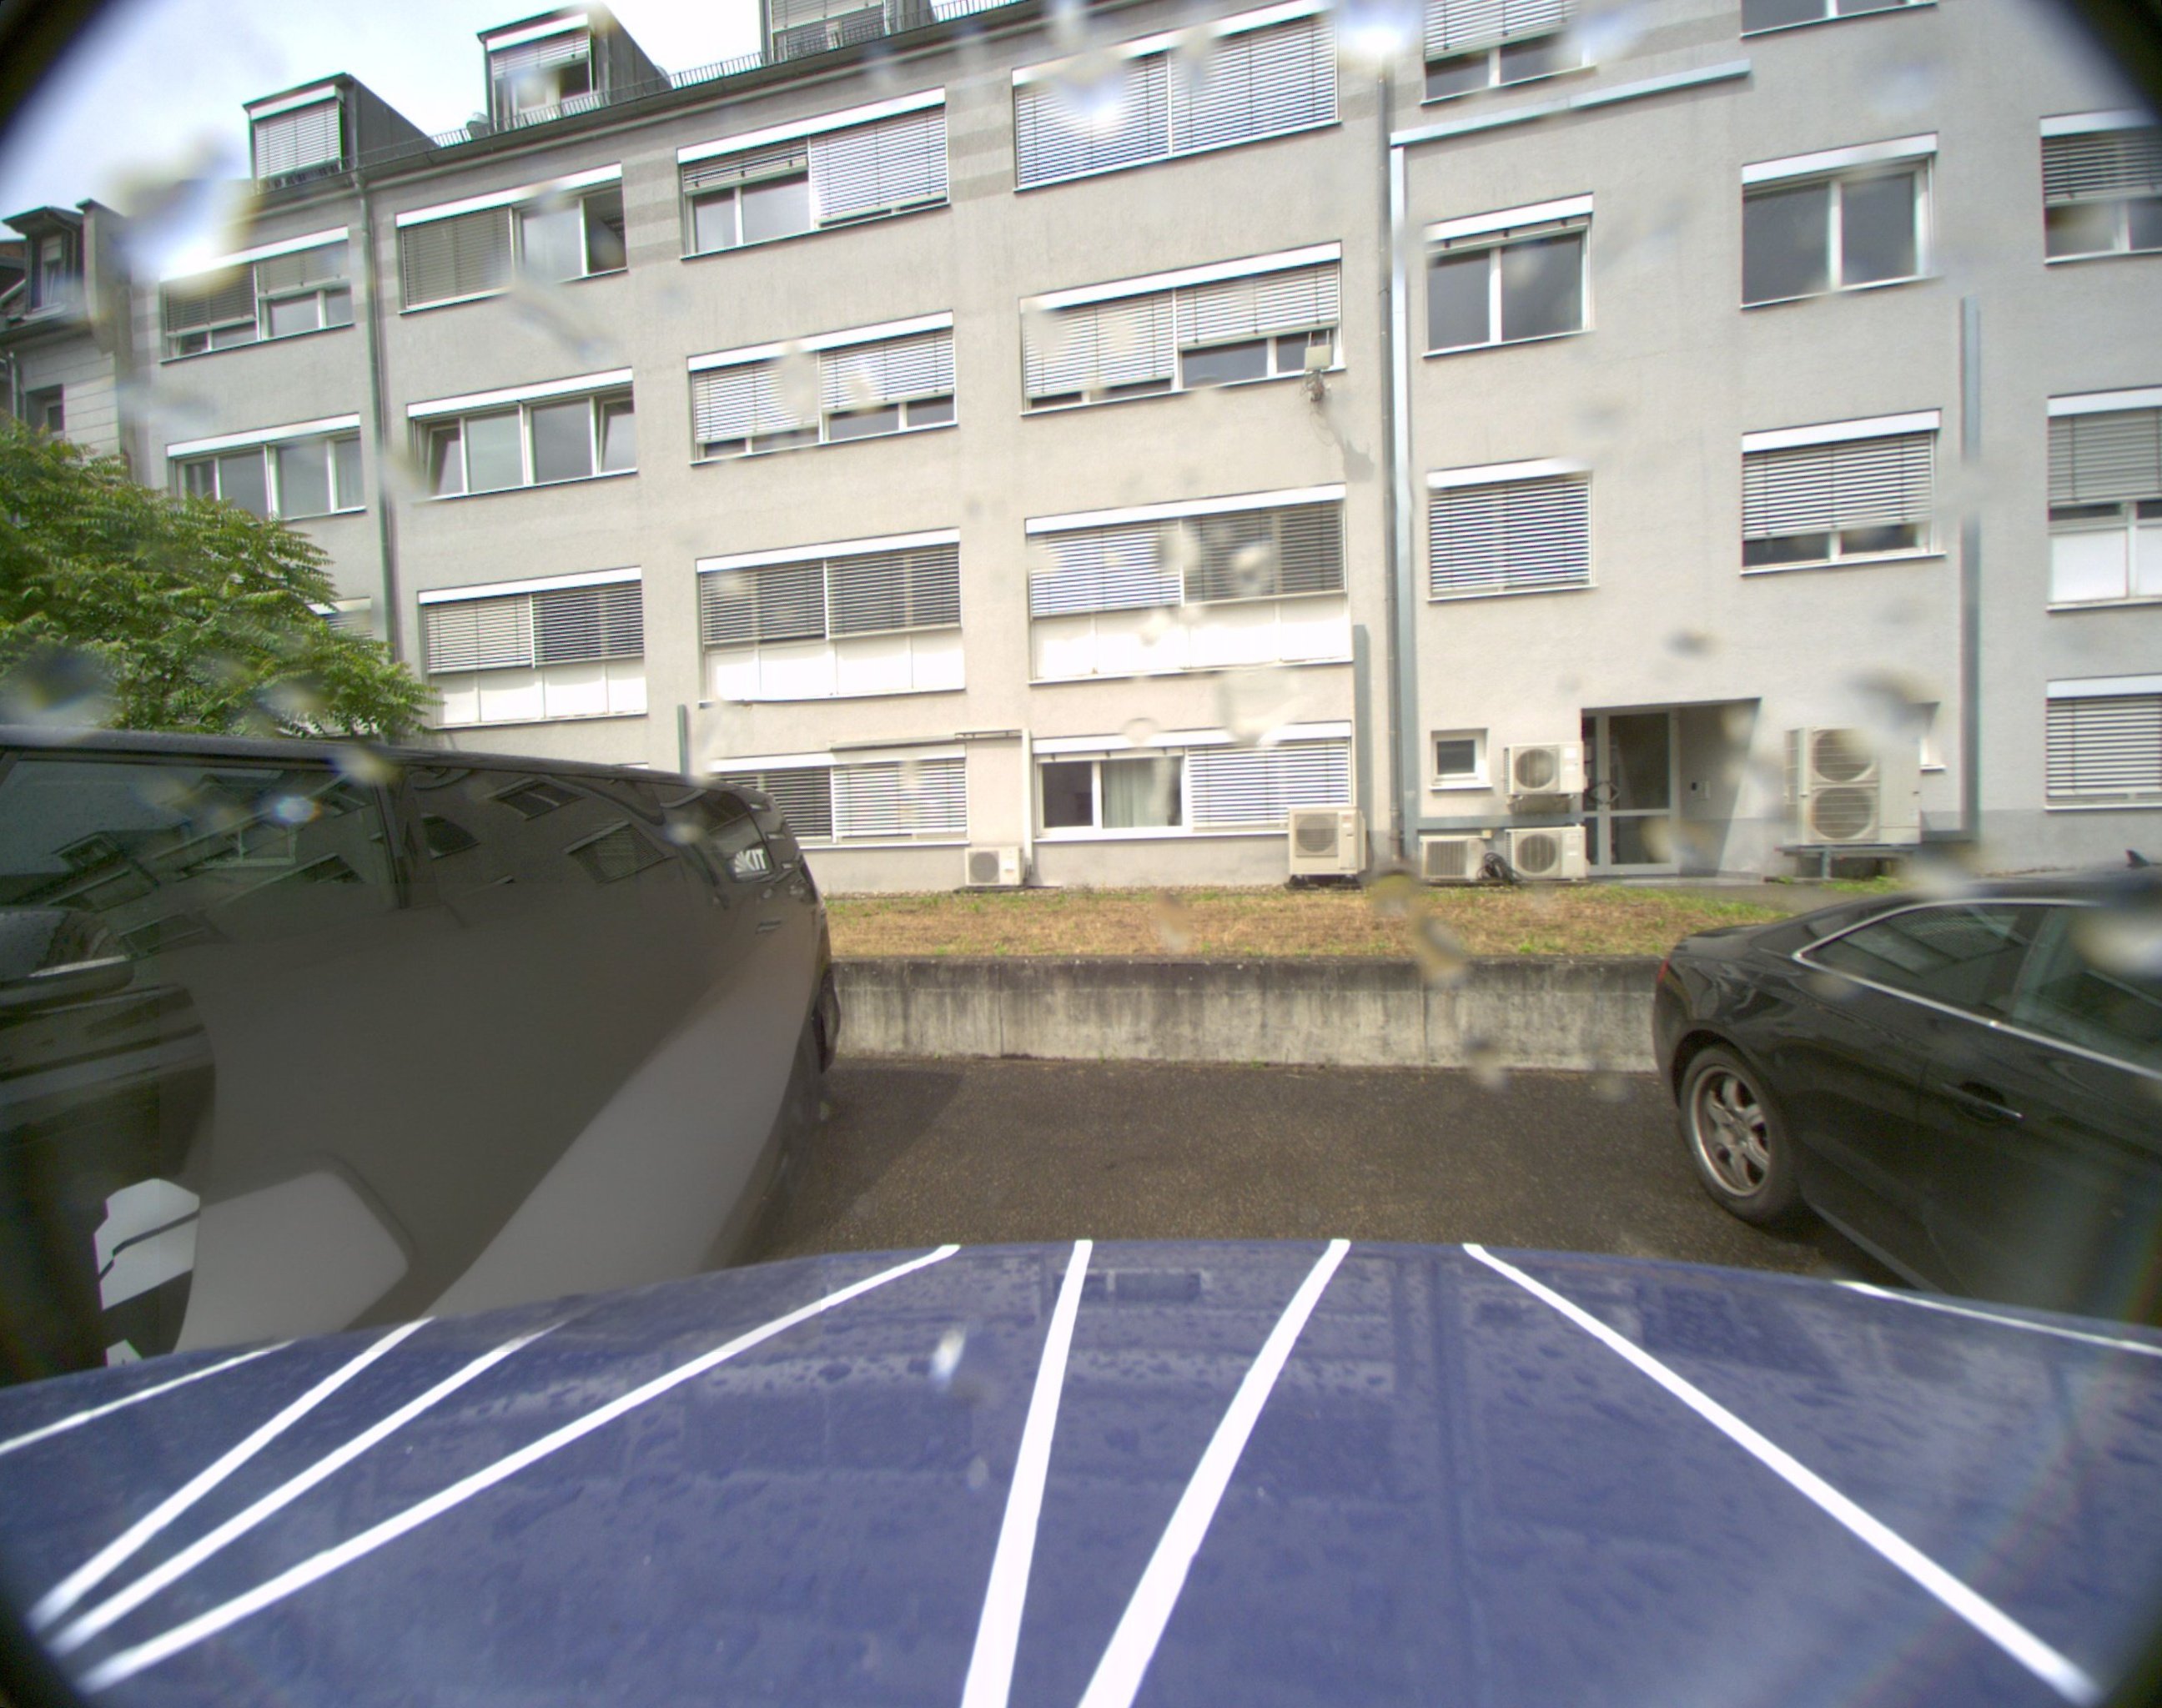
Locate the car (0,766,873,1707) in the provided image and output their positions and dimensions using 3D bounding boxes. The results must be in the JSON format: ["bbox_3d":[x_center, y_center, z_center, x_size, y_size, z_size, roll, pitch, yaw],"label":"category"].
[{"bbox_3d":[-2.666,0.775,2.277,1.967,1.854,4.750,-2,2,11],"label":"car"}]

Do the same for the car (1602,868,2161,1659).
[{"bbox_3d":[2.932,0.856,1.289,1.760,1.344,4.531,-2,2,12],"label":"car"}]
